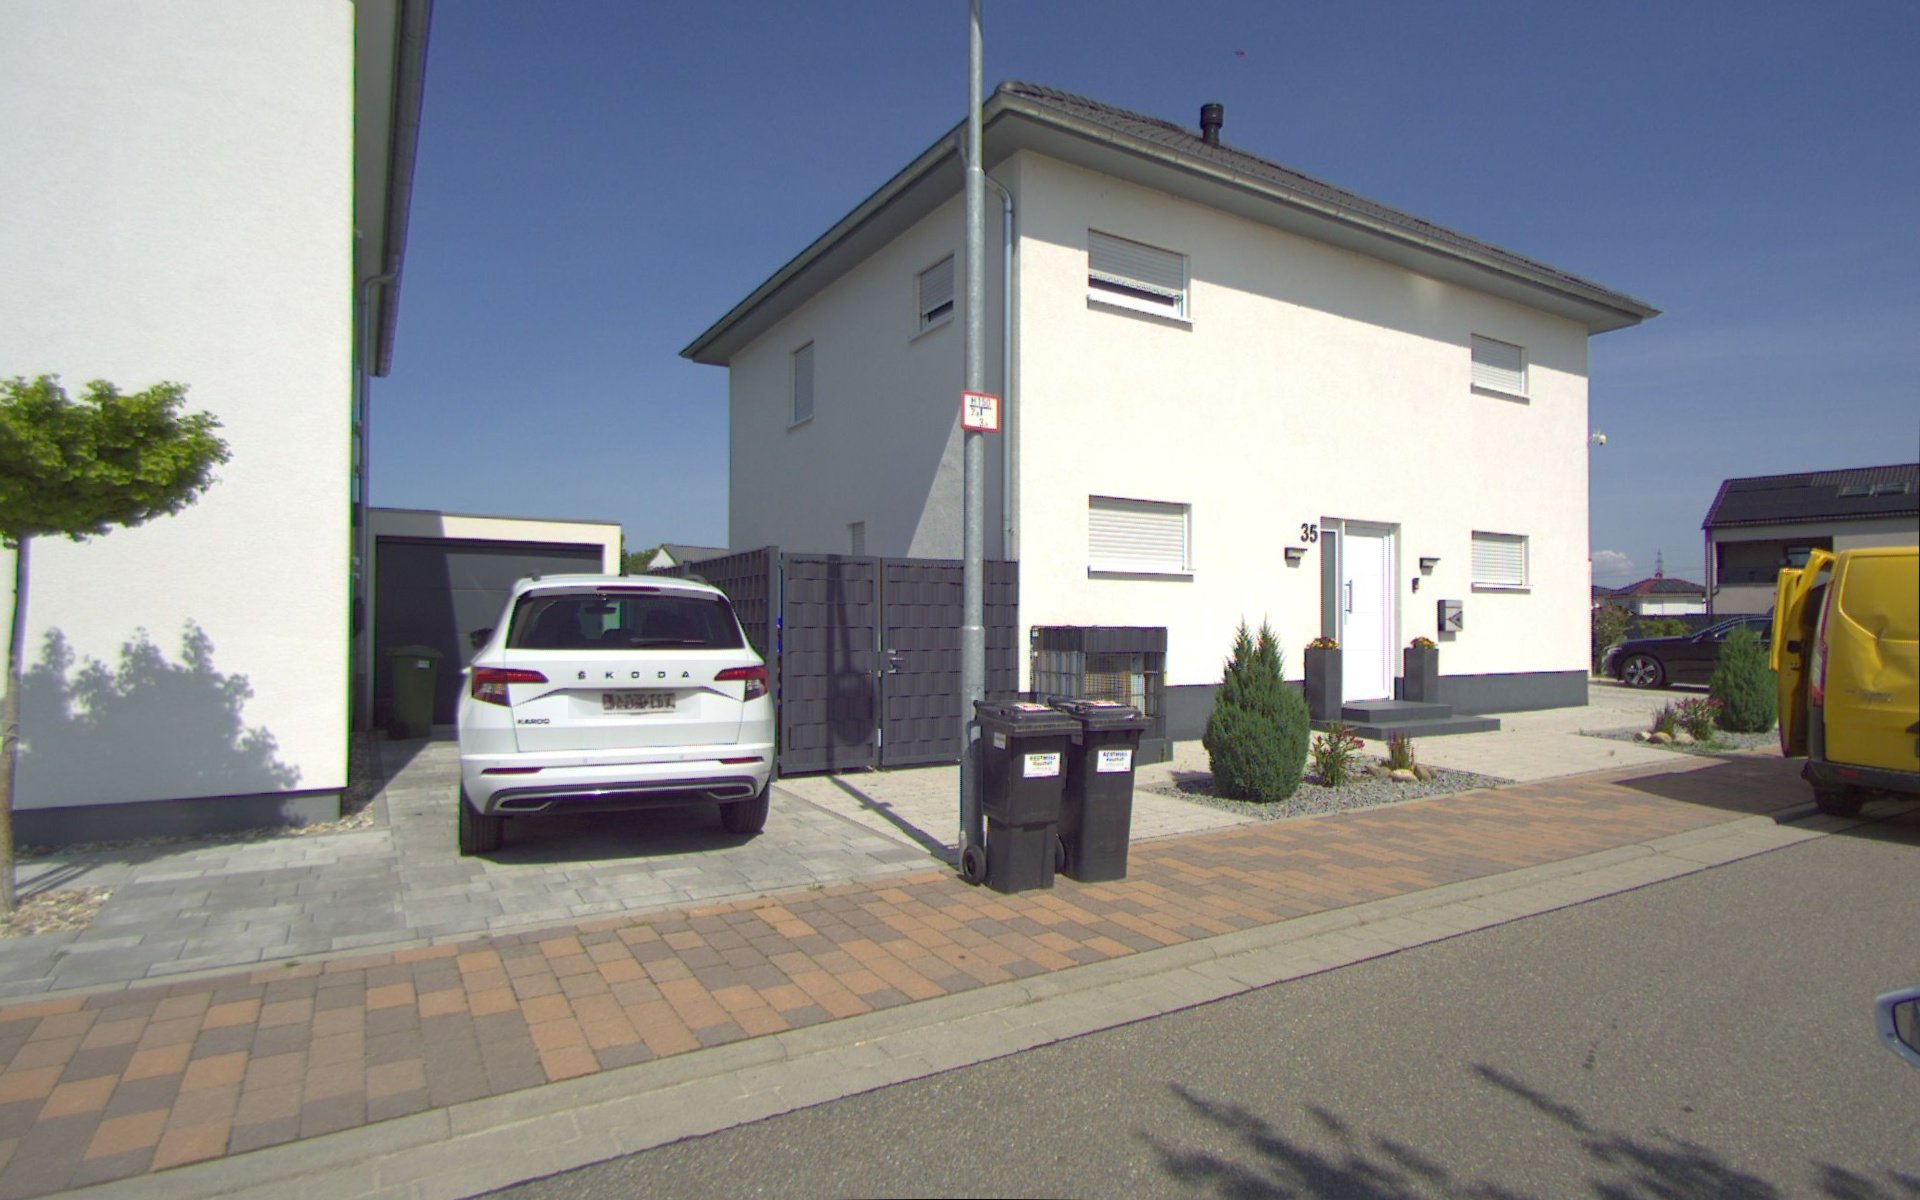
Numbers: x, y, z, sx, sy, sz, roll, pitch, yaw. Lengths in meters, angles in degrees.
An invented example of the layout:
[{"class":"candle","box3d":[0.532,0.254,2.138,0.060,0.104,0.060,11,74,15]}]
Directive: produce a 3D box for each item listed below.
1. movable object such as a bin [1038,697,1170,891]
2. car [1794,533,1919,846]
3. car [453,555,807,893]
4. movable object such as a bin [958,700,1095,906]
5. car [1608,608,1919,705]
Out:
[{"class":"movable object such as a bin","box3d":[0.783,1.027,5.489,0.525,0.938,0.483,1,-1,-34]},{"class":"car","box3d":[8.362,0.627,7.754,4.795,2.040,1.871,1,-1,-36]},{"class":"car","box3d":[-2.537,0.615,7.040,1.771,1.641,3.941,1,0,-27]},{"class":"movable object such as a bin","box3d":[0.340,1.010,5.188,0.525,0.938,0.483,1,-1,-34]},{"class":"car","box3d":[14.306,0.919,17.921,1.737,1.471,4.349,1,0,-44]}]
